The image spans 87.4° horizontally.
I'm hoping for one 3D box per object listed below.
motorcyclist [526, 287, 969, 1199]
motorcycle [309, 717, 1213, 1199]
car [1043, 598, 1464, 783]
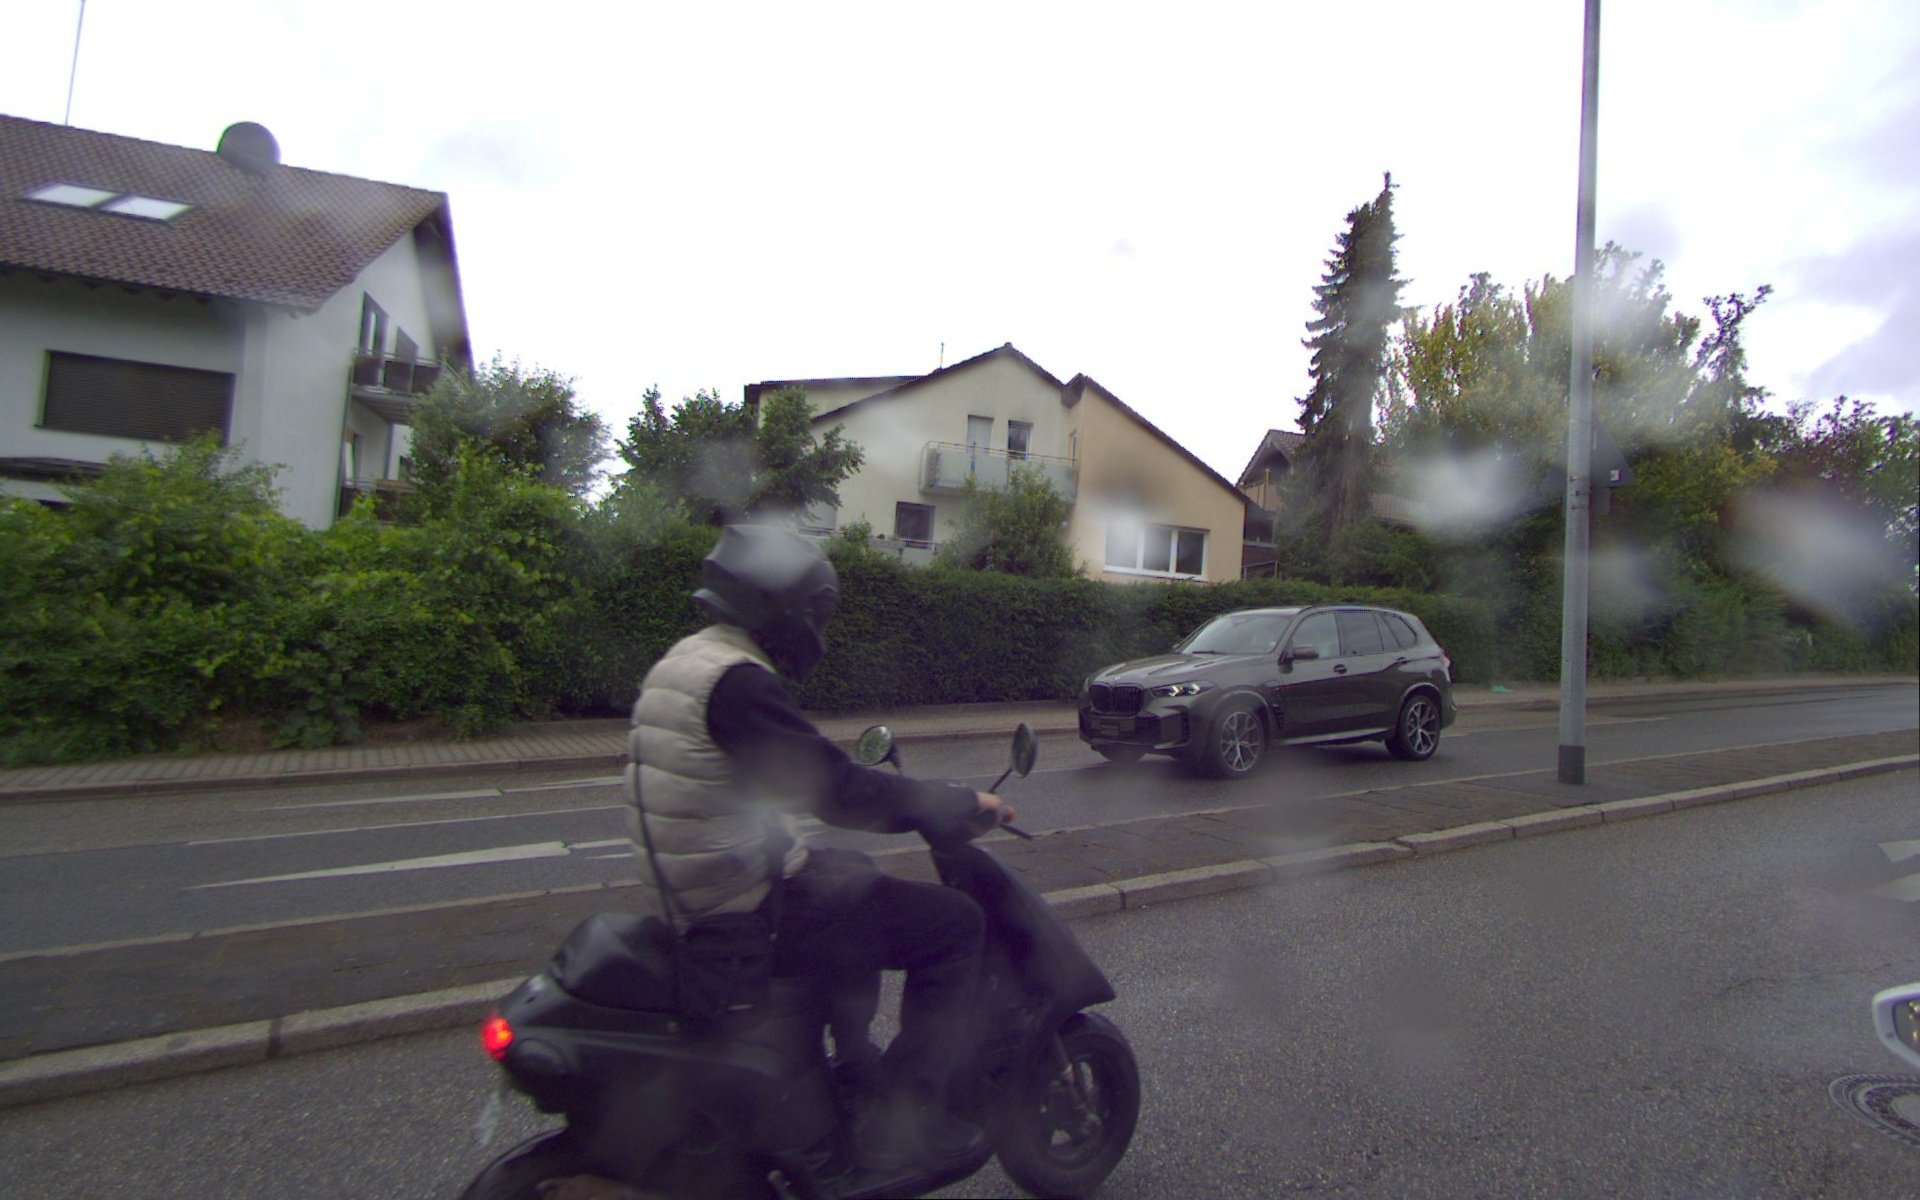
[{"bbox_3d":[-0.472,0.348,2.097,0.666,1.664,0.761,2,-3,-30],"label":"motorcyclist"},{"bbox_3d":[-0.341,0.814,2.155,1.727,1.066,0.687,3,-3,-31],"label":"motorcycle"},{"bbox_3d":[3.417,0.933,11.488,4.662,1.739,1.984,1,-3,-30],"label":"car"}]
